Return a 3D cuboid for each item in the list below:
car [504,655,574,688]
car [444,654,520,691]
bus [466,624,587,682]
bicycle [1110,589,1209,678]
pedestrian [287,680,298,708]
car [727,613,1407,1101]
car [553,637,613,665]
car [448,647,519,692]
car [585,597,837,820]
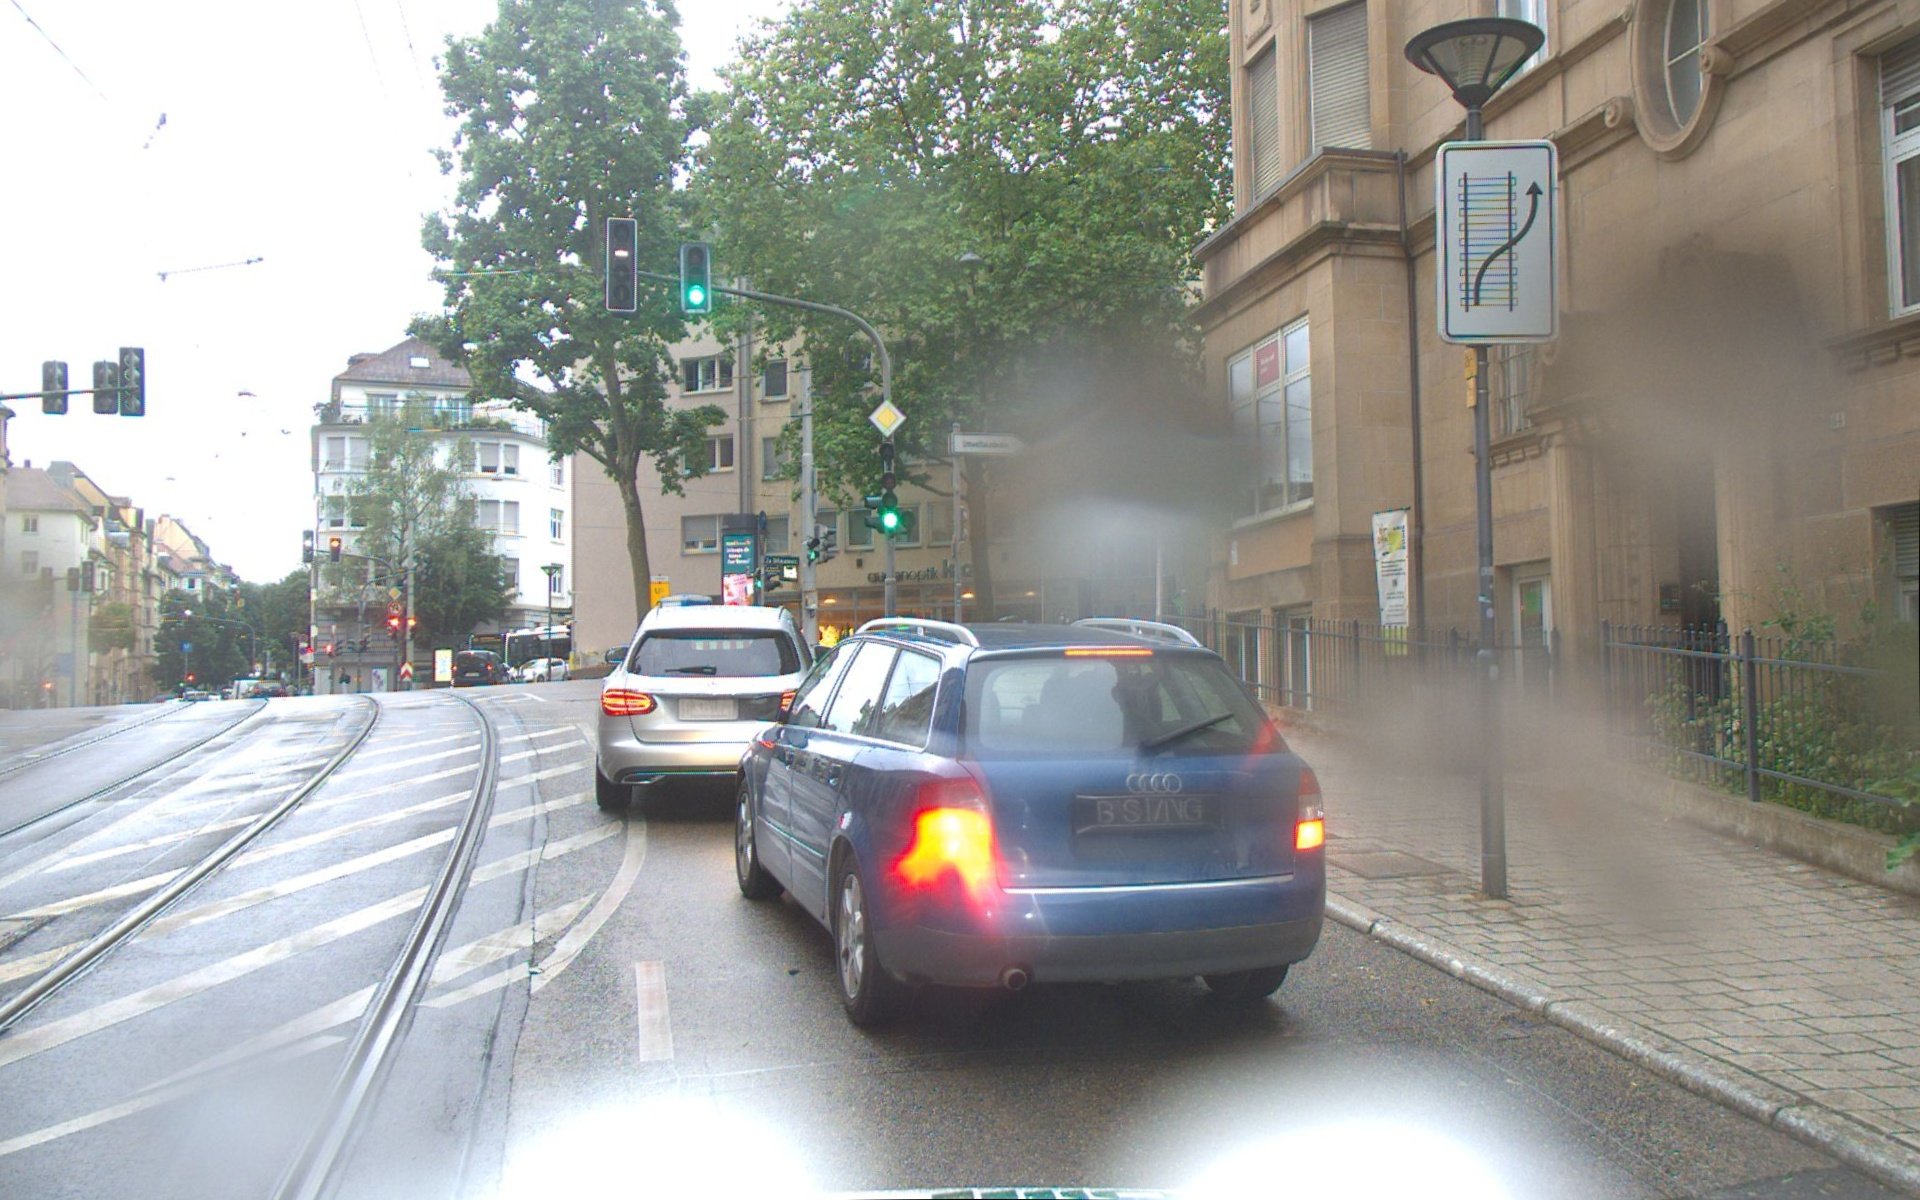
[{"bbox_3d":[-22.359,3.777,87.907,1.756,1.536,4.002,-1,0,17],"label":"car"},{"bbox_3d":[-23.931,3.628,82.972,1.756,1.642,4.002,-1,0,17],"label":"car"},{"bbox_3d":[-24.493,2.963,94.012,2.793,2.911,8.741,-1,0,13],"label":"bus"},{"bbox_3d":[2.863,0.475,23.757,1.278,1.194,0.524,-3,0,-13],"label":"bicycle"},{"bbox_3d":[-42.010,5.920,104.092,0.639,1.690,0.646,0,-1,-21],"label":"pedestrian"},{"bbox_3d":[0.125,0.800,7.227,1.683,1.440,4.017,0,0,-17],"label":"car"},{"bbox_3d":[-22.926,3.107,100.714,1.756,1.536,4.002,-1,0,17],"label":"car"},{"bbox_3d":[-19.436,2.811,67.611,1.758,1.536,3.999,-3,0,-2],"label":"car"},{"bbox_3d":[-1.912,0.723,12.939,1.678,1.481,3.546,0,0,-8],"label":"car"}]
